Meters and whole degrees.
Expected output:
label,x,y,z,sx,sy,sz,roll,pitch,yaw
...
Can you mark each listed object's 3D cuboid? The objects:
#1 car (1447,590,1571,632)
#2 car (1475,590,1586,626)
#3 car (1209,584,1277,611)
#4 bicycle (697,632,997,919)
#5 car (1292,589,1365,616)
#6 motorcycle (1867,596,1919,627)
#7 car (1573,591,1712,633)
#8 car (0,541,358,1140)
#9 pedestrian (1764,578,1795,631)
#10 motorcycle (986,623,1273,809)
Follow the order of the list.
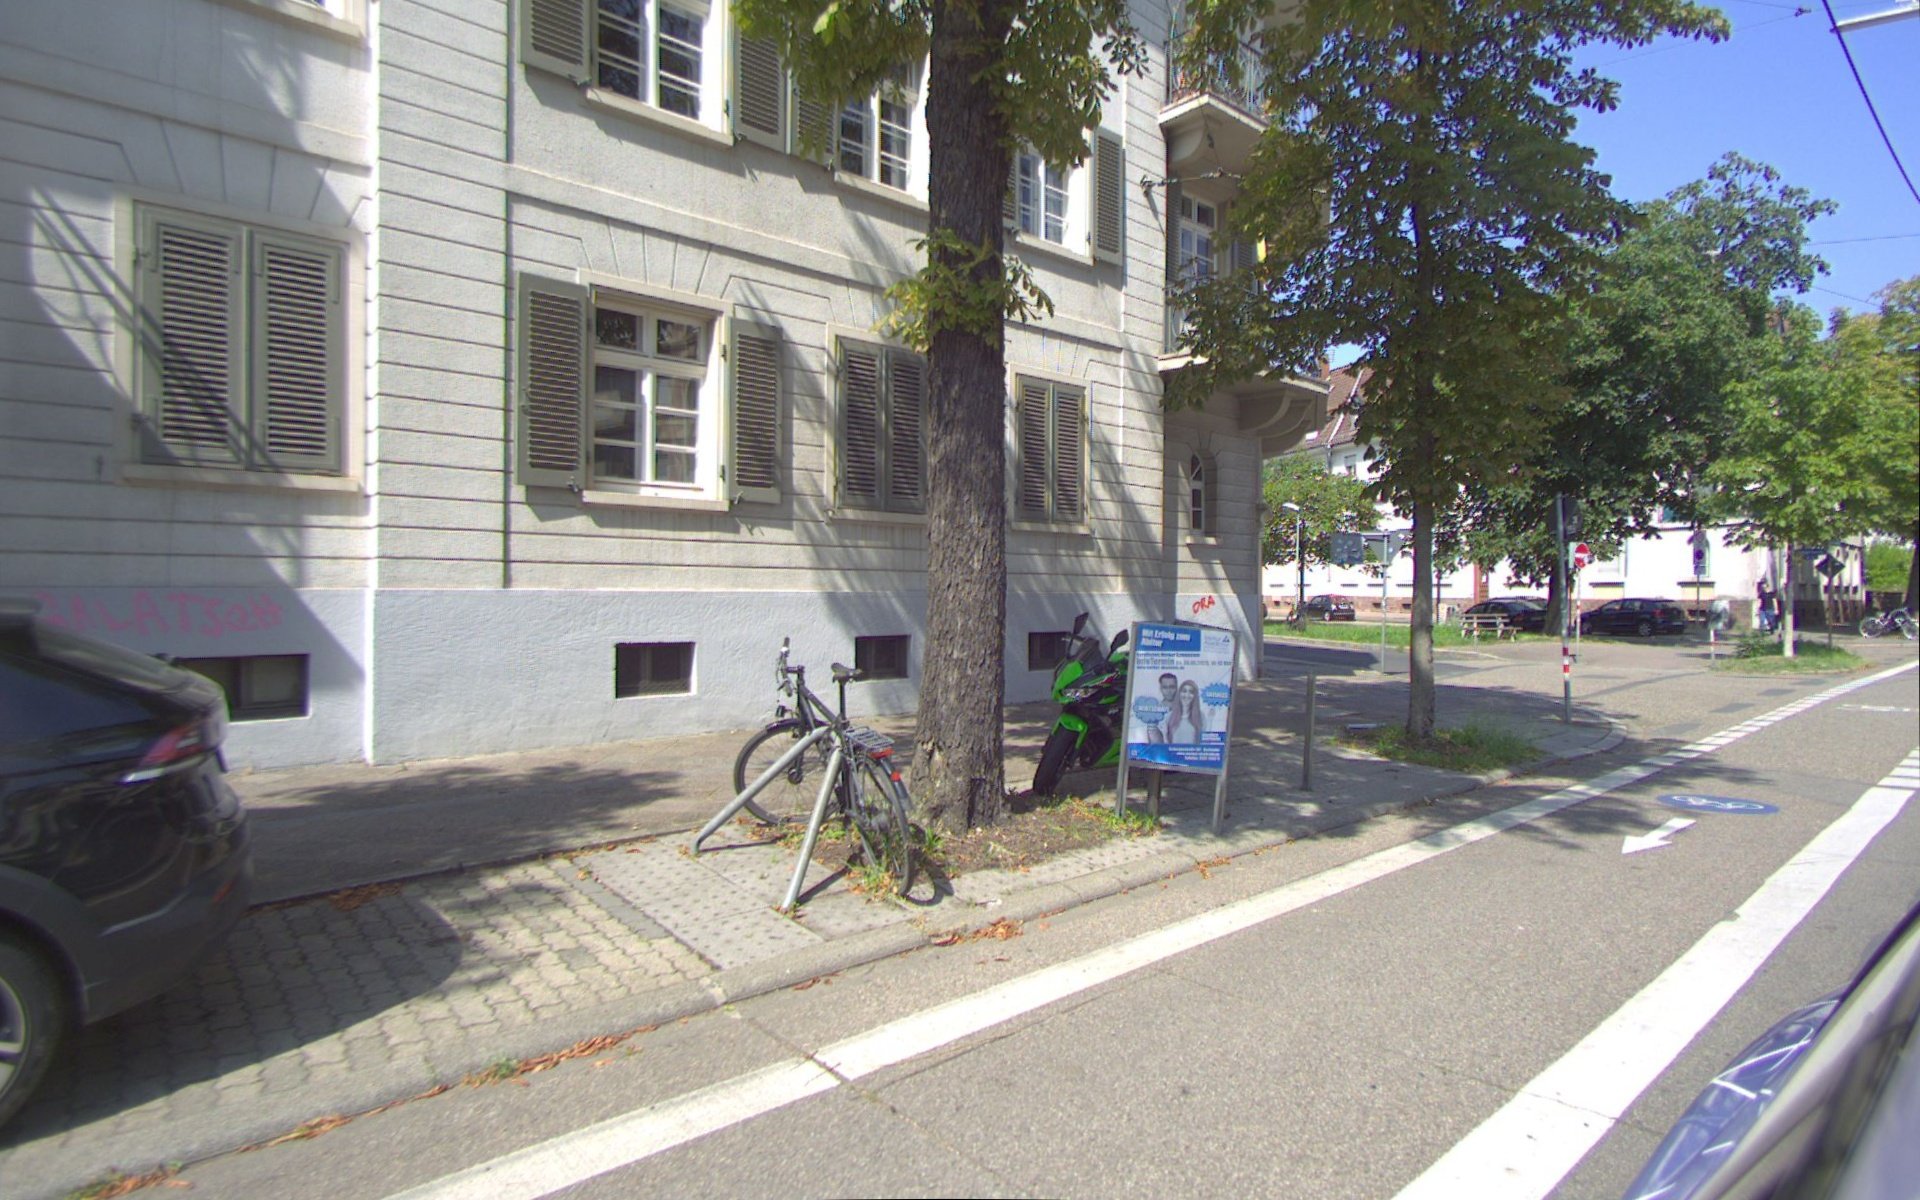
label,x,y,z,sx,sy,sz,roll,pitch,yaw
car,20.350,0.384,37.695,1.799,1.448,4.008,0,1,-14
car,24.447,0.324,43.507,1.934,1.457,4.008,0,1,-14
car,15.666,-0.153,56.238,1.799,1.448,4.287,0,1,-14
bicycle,-0.644,0.773,5.174,0.644,1.137,1.758,0,0,-41
car,20.644,0.128,56.822,1.934,1.457,4.008,0,1,-14
motorcycle,32.508,0.394,34.712,0.783,1.028,1.998,0,1,-41
car,25.752,0.420,38.350,1.933,1.461,4.009,0,1,-18
car,-3.976,0.595,2.155,1.663,1.526,4.364,2,2,44
pedestrian,28.504,0.144,35.199,0.621,1.808,0.749,0,0,-40
motorcycle,1.351,0.768,7.622,2.456,1.125,0.827,0,0,-44
